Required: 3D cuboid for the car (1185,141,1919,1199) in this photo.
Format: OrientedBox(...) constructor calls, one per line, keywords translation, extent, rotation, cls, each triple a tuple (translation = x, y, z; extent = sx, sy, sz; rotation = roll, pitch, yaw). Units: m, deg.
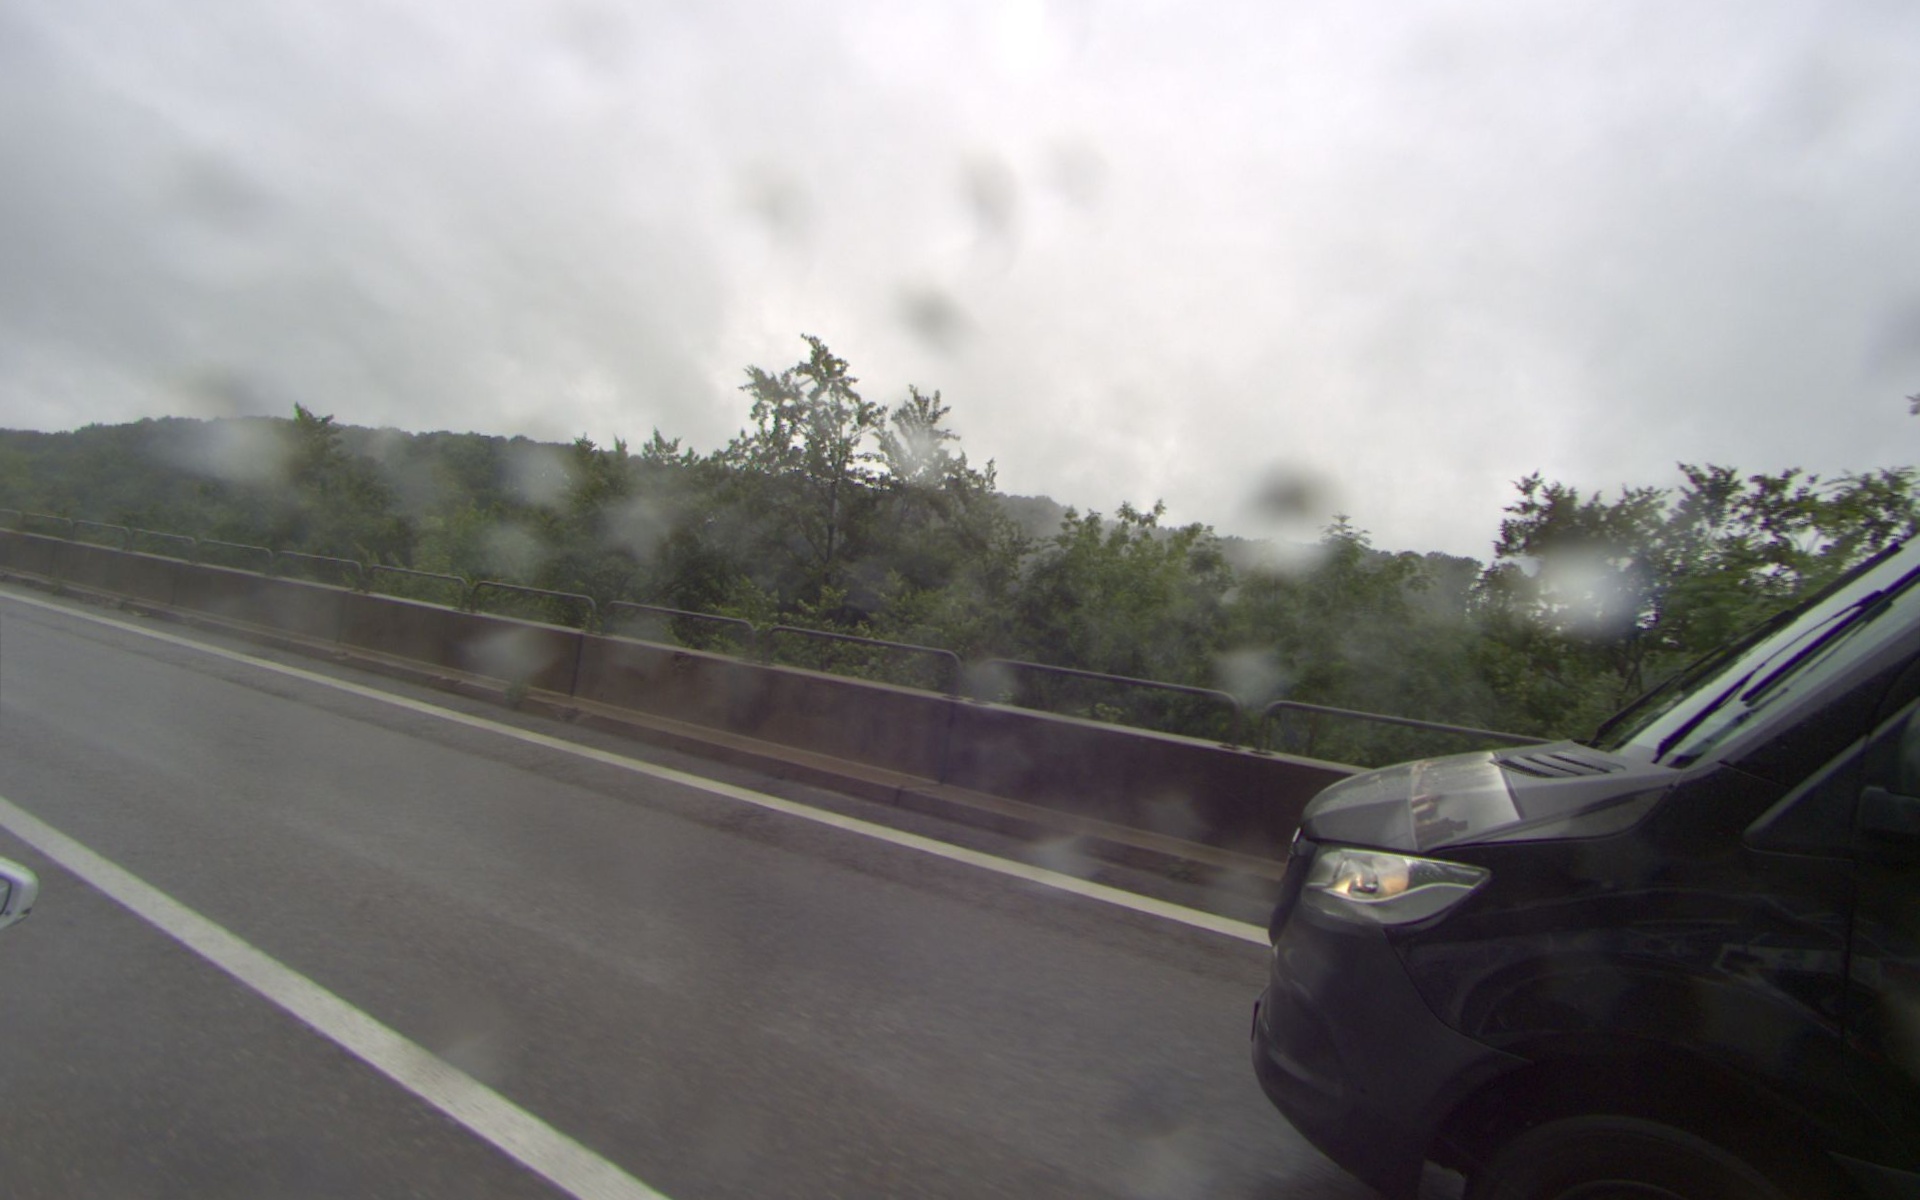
OrientedBox(translation=(3.952, 0.737, 1.483), extent=(6.594, 2.524, 1.997), rotation=(7, -1, 32), cls="car")
